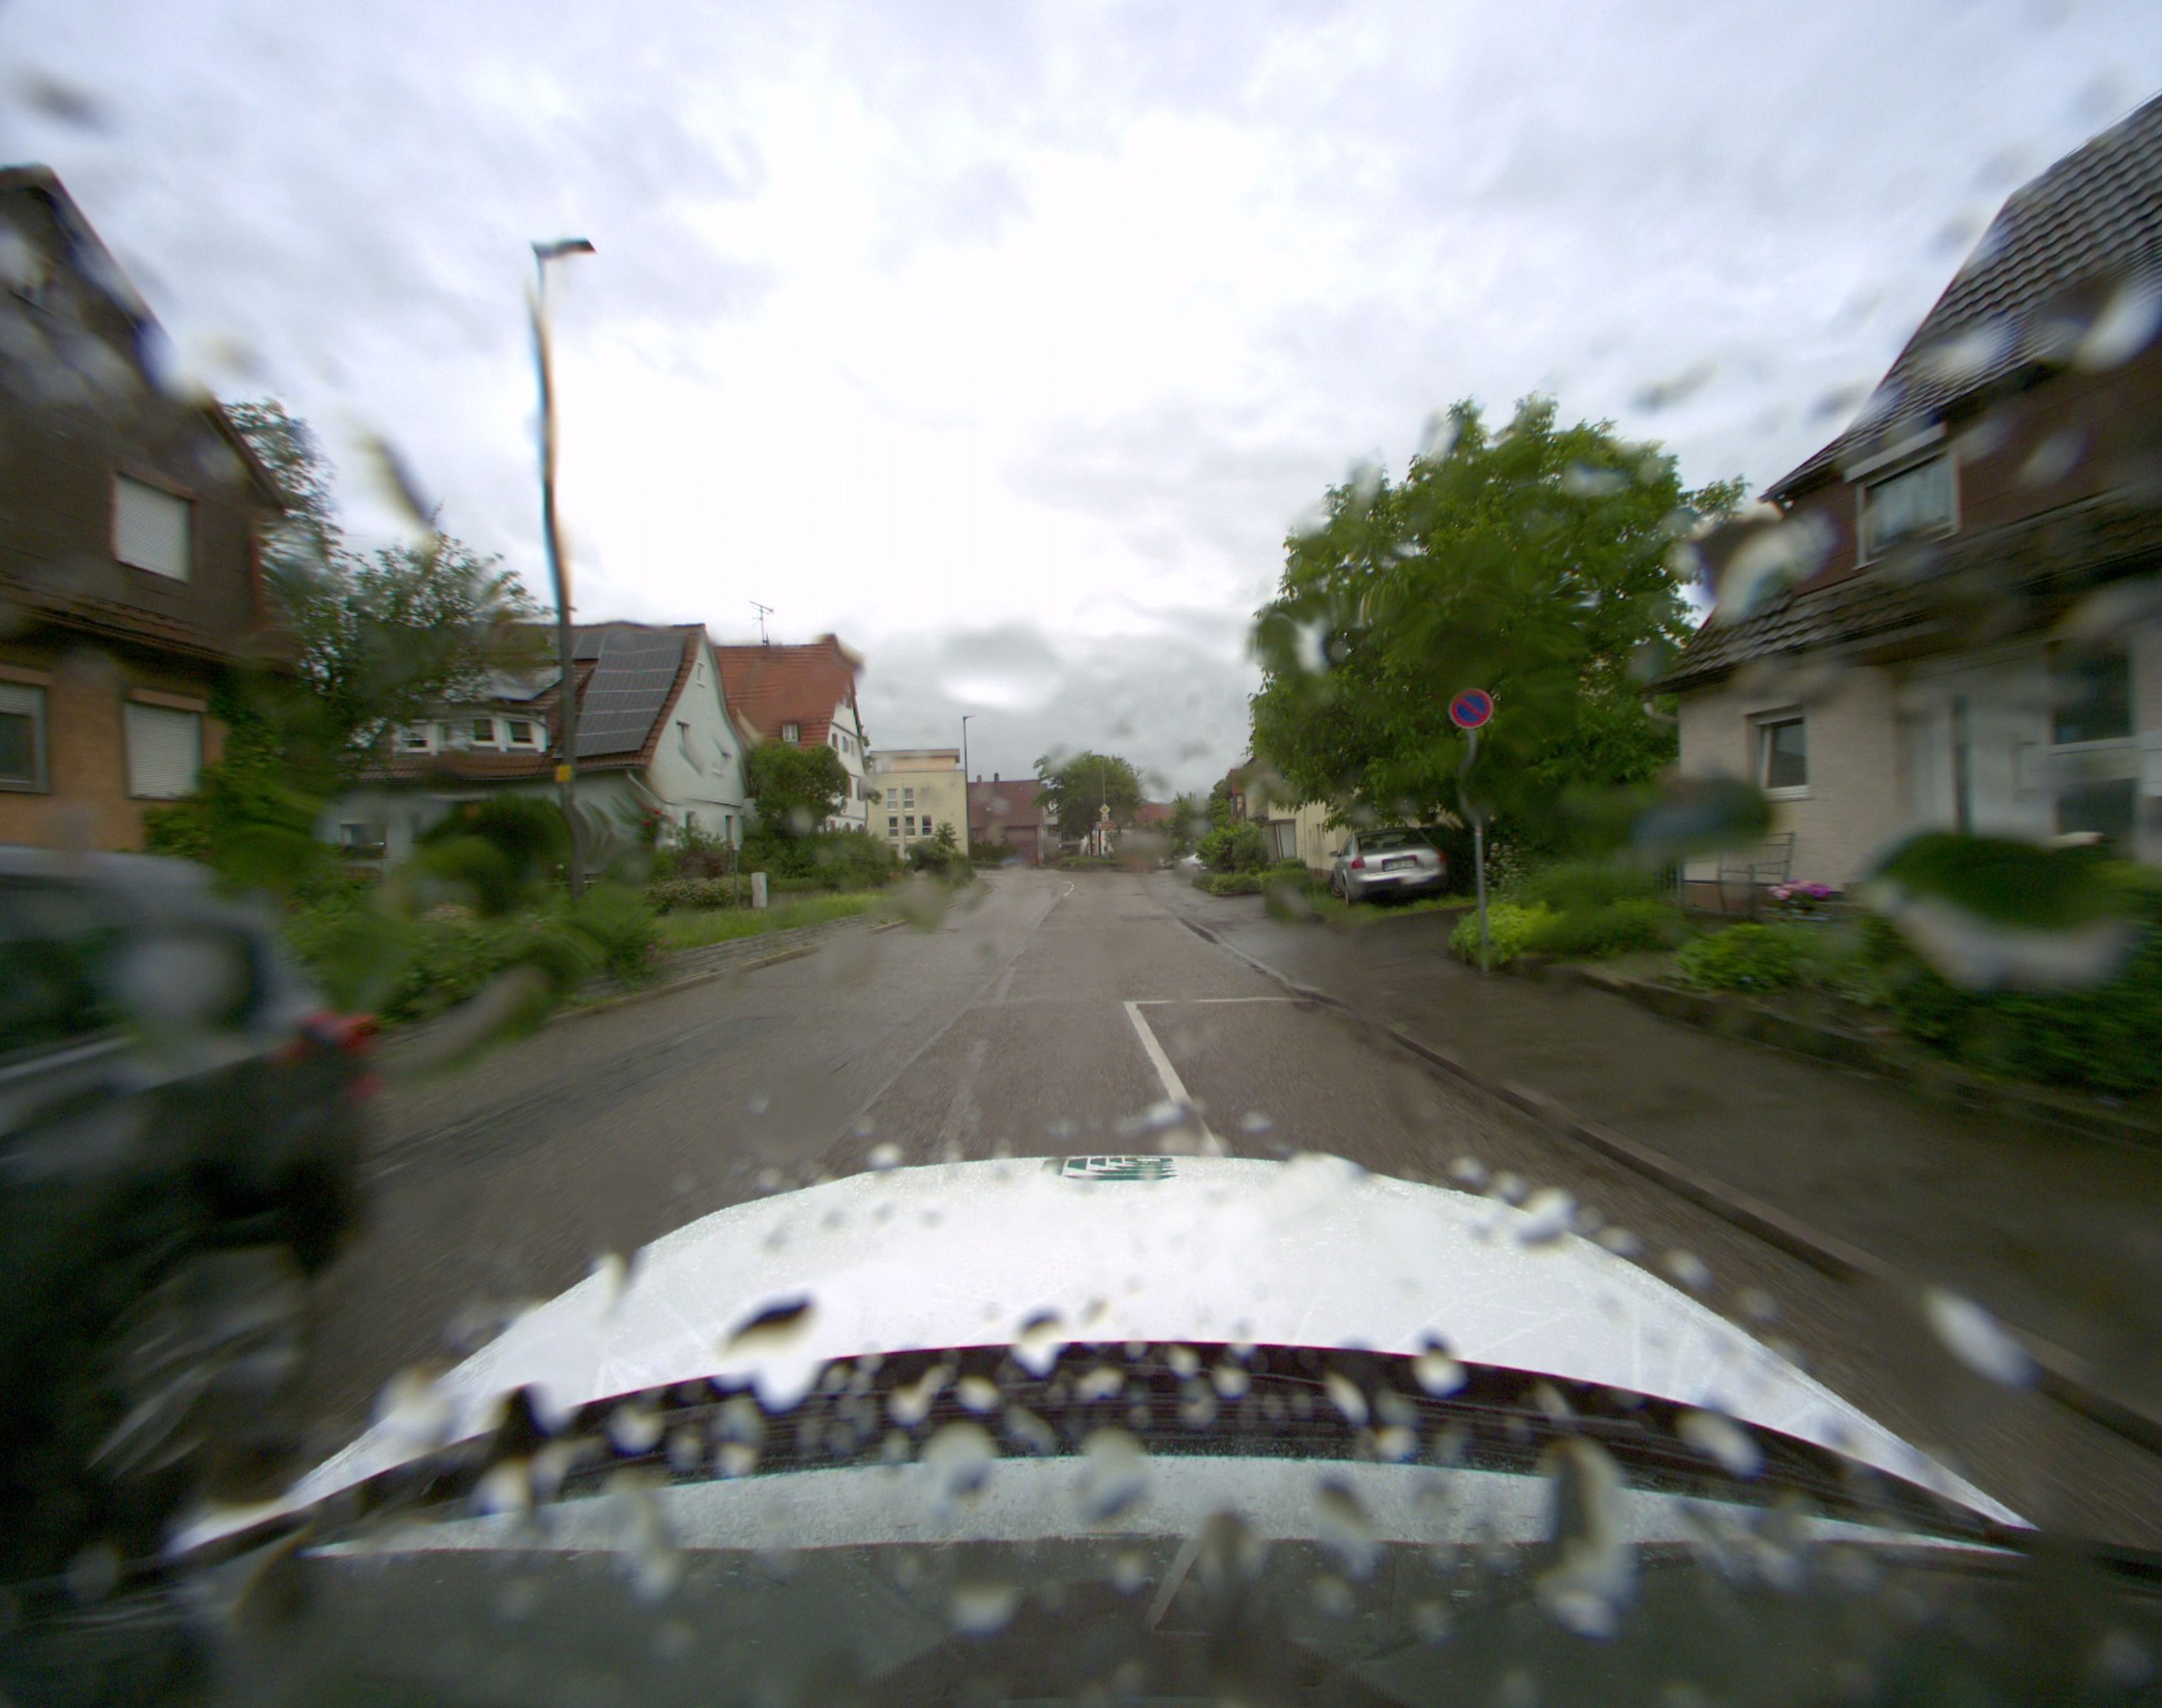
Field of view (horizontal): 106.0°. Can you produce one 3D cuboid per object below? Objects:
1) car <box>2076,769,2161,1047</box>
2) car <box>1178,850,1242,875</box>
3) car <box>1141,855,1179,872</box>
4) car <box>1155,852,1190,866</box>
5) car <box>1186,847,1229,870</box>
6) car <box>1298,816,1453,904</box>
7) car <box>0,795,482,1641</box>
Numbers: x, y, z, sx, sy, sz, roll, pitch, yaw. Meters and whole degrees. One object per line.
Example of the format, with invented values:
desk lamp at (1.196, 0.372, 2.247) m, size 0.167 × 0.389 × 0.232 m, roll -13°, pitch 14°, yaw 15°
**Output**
car at (5.746, 0.239, 2.260) m, size 1.745 × 1.393 × 4.019 m, roll -8°, pitch 0°, yaw 17°
car at (8.452, 0.562, 53.281) m, size 3.928 × 1.408 × 2.006 m, roll -4°, pitch -1°, yaw 11°
car at (8.793, 1.056, 90.465) m, size 3.959 × 1.626 × 2.007 m, roll -3°, pitch 0°, yaw 13°
car at (10.732, 0.615, 95.718) m, size 3.965 × 1.420 × 2.005 m, roll -3°, pitch 0°, yaw 8°
car at (9.191, 0.350, 58.963) m, size 2.889 × 1.523 × 1.396 m, roll -3°, pitch 0°, yaw 14°
car at (5.522, 0.108, 15.761) m, size 1.632 × 1.430 × 3.677 m, roll -3°, pitch 0°, yaw 0°
car at (-3.003, 0.739, 0.842) m, size 1.793 × 1.640 × 3.998 m, roll -3°, pitch 0°, yaw -1°
